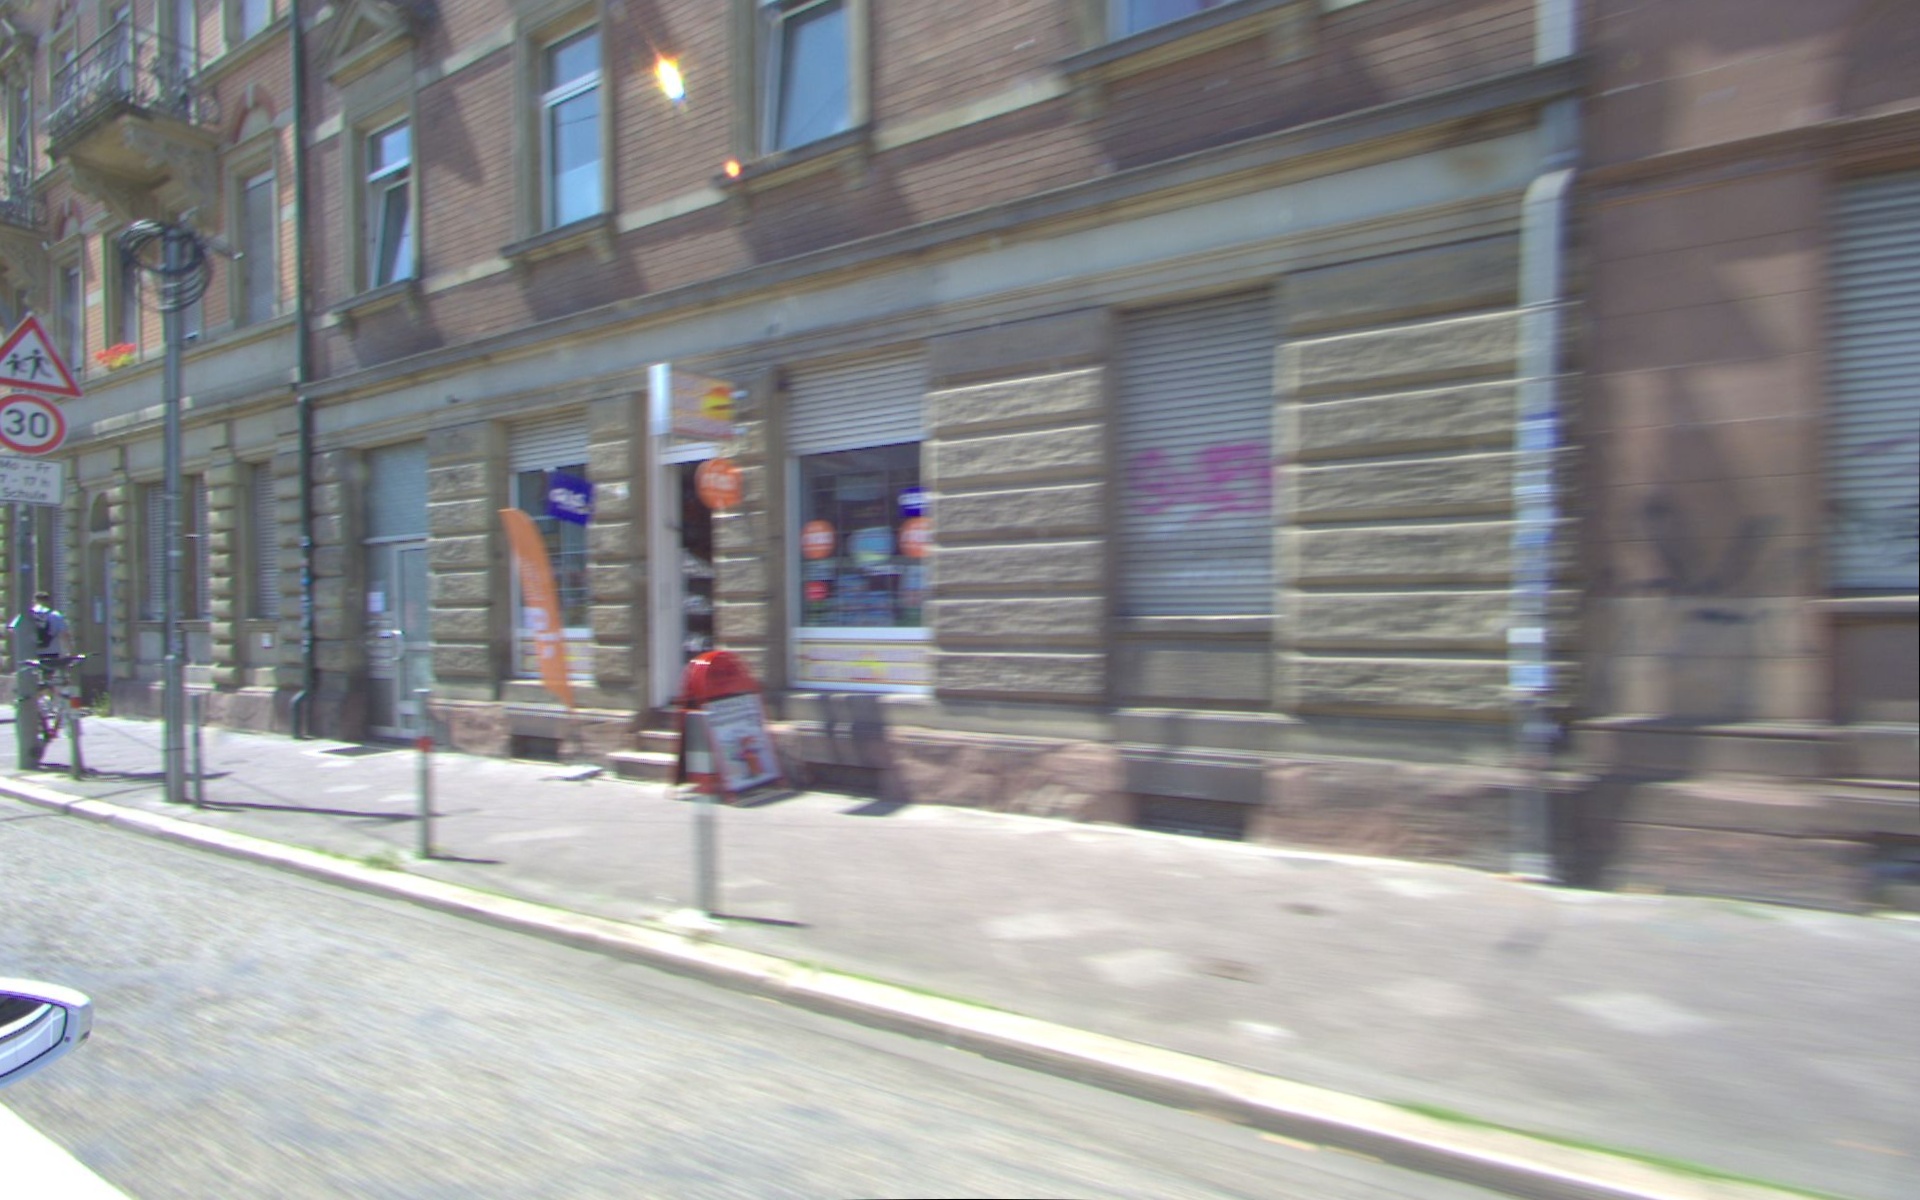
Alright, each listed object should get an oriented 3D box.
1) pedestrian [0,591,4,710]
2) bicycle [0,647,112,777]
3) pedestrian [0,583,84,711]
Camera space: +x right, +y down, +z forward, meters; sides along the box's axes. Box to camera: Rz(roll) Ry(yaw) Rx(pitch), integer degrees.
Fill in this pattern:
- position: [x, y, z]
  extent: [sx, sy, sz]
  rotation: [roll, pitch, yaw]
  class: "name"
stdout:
- position: [-14.572, 0.745, 14.642]
  extent: [0.634, 1.743, 0.718]
  rotation: [0, 1, 33]
  class: "pedestrian"
- position: [-9.046, 1.055, 9.947]
  extent: [2.392, 1.111, 0.446]
  rotation: [0, 1, 38]
  class: "bicycle"
- position: [-13.955, 0.692, 15.222]
  extent: [0.634, 1.875, 0.700]
  rotation: [0, 4, 33]
  class: "pedestrian"
